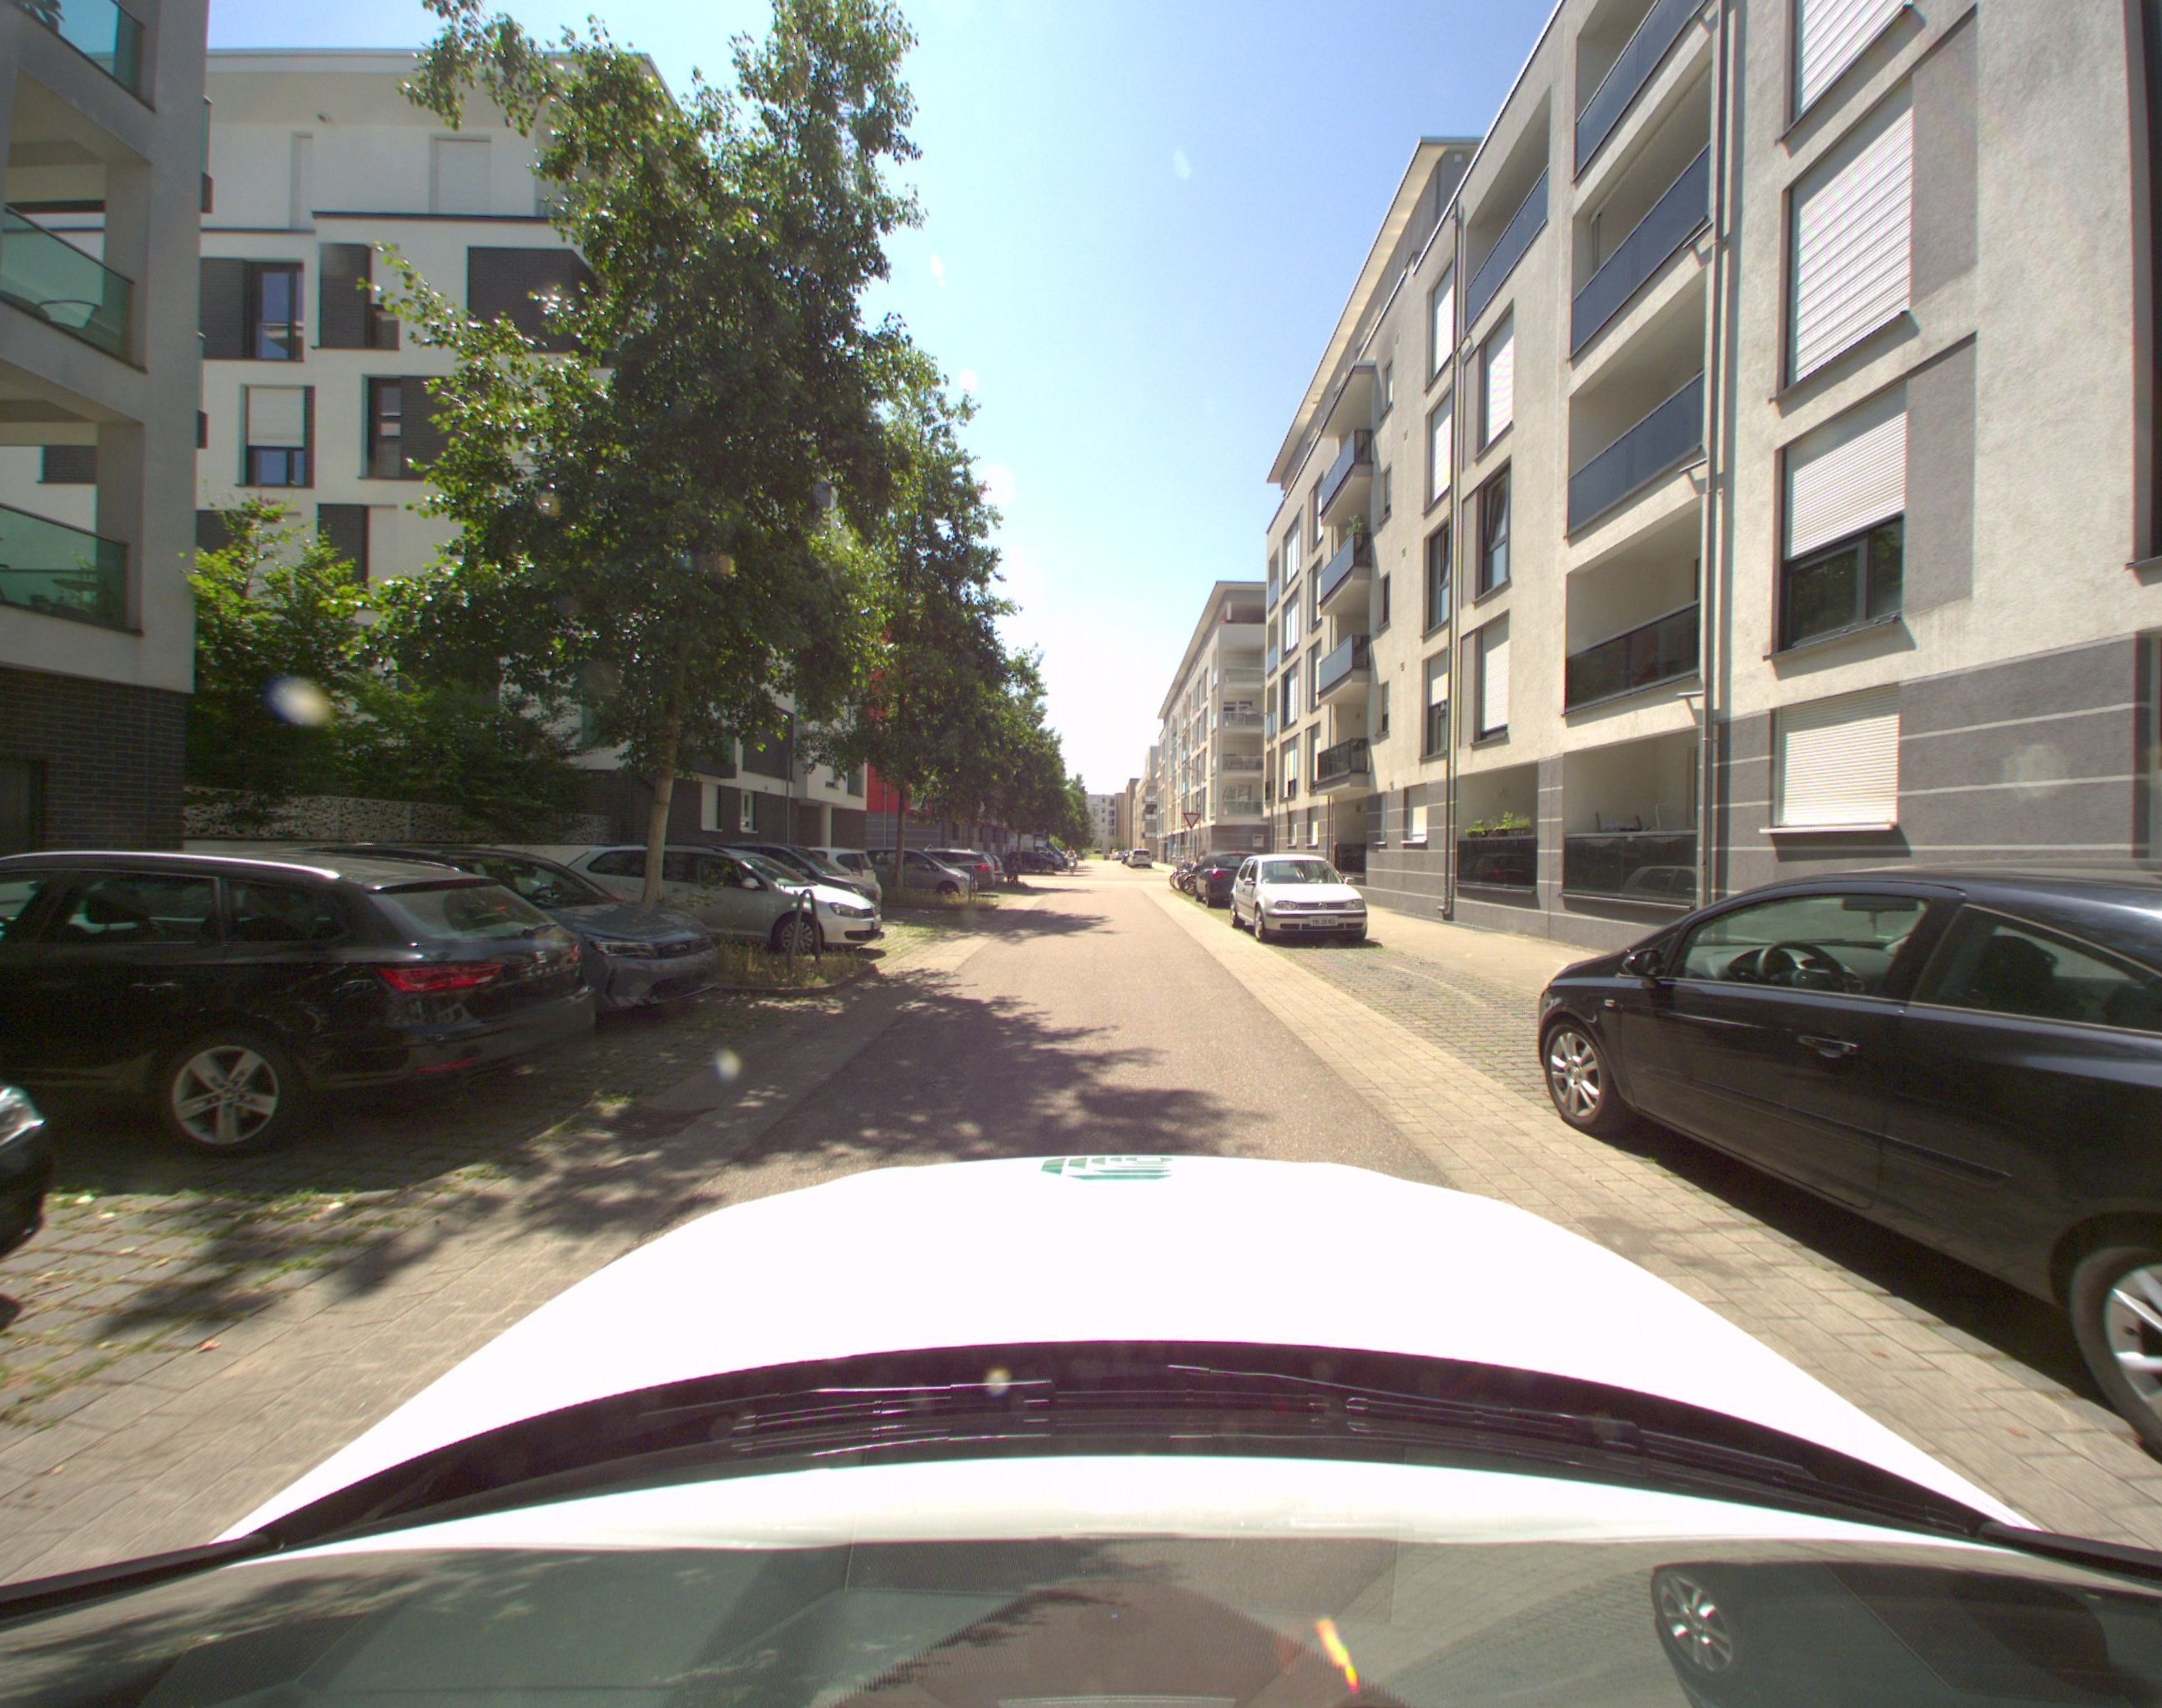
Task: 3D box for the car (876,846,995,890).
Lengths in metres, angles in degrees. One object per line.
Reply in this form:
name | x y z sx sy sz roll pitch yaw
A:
car | -5.304 0.506 30.057 3.970 1.555 1.801 0 0 3

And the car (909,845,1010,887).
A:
car | -4.767 0.444 32.326 3.617 1.520 1.832 2 0 1

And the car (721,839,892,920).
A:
car | -5.753 0.513 17.356 2.923 1.500 1.848 3 0 -1

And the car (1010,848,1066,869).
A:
car | -3.448 0.365 65.996 4.367 1.542 1.879 2 0 1

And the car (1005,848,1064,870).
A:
car | -3.580 0.350 63.445 4.367 1.515 2.076 2 0 1

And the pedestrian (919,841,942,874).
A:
pedestrian | -7.763 0.158 41.989 0.996 1.690 0.833 0 0 2

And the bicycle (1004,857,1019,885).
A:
bicycle | -2.970 0.696 34.795 0.434 1.128 1.971 0 0 -11

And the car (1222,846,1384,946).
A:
car | 3.809 0.630 14.770 1.827 1.504 4.352 -1 0 1

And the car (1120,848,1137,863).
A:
car | 5.330 0.163 90.647 1.749 1.552 4.005 1 0 4

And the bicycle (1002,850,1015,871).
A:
bicycle | -4.760 0.406 53.387 0.591 1.331 1.813 0 1 2

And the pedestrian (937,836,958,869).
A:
pedestrian | -8.152 -0.076 49.689 1.004 2.013 1.131 0 0 4

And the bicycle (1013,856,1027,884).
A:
bicycle | -2.610 0.668 34.819 0.371 1.180 1.814 0 0 -11

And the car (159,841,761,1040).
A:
car | -5.303 0.671 7.392 3.972 1.422 1.898 2 1 2

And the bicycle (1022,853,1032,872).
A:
bicycle | -3.534 0.530 53.326 0.432 1.204 1.701 2 1 2

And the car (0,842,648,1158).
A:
car | -5.039 0.708 4.781 3.965 1.445 1.774 2 0 -3

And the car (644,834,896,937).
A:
car | -5.322 0.521 14.347 3.701 1.586 1.818 2 0 -4

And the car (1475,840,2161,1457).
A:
car | 3.432 0.694 3.382 1.637 1.462 4.118 -1 0 1

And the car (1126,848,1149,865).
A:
car | 5.264 0.253 76.235 1.986 1.524 4.002 0 0 2

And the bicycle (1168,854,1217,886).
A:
bicycle | 4.346 0.621 31.783 1.851 1.193 0.688 -1 0 4

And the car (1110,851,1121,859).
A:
car | 7.065 0.155 166.431 1.987 1.717 4.000 0 0 0

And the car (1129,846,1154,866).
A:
car | 5.207 0.169 70.532 1.990 1.657 4.117 0 0 2

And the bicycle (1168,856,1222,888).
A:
bicycle | 4.179 0.651 29.787 1.911 1.133 0.611 -1 0 10

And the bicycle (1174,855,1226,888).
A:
bicycle | 4.303 0.626 29.420 1.838 1.148 0.458 -1 0 -18

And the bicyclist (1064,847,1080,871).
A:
bicyclist | -0.533 0.305 48.802 0.950 1.459 0.800 0 0 0

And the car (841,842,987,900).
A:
car | -4.947 0.494 24.511 3.924 1.553 1.872 2 0 0

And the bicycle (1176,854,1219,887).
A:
bicycle | 4.438 0.614 31.071 1.546 1.218 0.707 -1 0 -1

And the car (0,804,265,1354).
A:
car | -5.216 0.619 2.266 3.971 1.651 1.920 2 0 2

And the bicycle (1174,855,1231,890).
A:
bicycle | 4.302 0.646 28.836 1.922 1.218 0.459 -1 0 -8

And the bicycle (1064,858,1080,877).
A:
bicycle | -0.538 0.791 48.709 0.895 1.129 2.040 0 0 1

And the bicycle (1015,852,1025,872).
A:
bicycle | -3.991 0.515 53.585 0.517 1.204 1.752 2 1 -1

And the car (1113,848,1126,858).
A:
car | 6.571 -0.108 139.201 1.987 1.675 4.000 0 0 0

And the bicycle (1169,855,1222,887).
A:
bicycle | 4.292 0.633 30.391 1.911 1.179 0.640 -1 0 10

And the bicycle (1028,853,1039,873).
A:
bicycle | -3.102 0.563 53.315 0.569 1.174 1.765 3 1 -6

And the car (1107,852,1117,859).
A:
car | 6.802 0.335 180.503 1.987 1.519 4.000 0 0 0

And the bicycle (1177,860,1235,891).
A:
bicycle | 4.321 0.724 28.173 1.919 1.035 0.559 -1 0 -3

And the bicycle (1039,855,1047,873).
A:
bicycle | -2.508 0.618 53.527 0.464 1.141 1.925 0 0 -1

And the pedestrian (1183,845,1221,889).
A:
pedestrian | 4.305 0.453 28.963 1.178 1.515 0.686 -1 0 -9

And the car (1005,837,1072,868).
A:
car | -3.914 -0.174 76.070 6.002 2.816 2.606 0 0 1

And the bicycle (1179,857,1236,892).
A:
bicycle | 4.254 0.682 27.480 1.782 1.104 0.746 -1 0 -3

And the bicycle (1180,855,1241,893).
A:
bicycle | 4.246 0.653 26.733 1.865 1.218 0.715 -1 0 -3

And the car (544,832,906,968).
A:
car | -4.980 0.607 11.927 4.348 1.710 1.999 -1 0 -2

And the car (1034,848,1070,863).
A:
car | -3.282 0.154 93.271 3.970 1.618 2.002 0 0 3

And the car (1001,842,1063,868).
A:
car | -4.172 0.061 70.640 5.127 2.119 2.312 1 1 1

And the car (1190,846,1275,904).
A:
car | 4.181 0.521 23.087 1.732 1.485 4.230 -1 0 1

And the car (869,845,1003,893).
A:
car | -4.784 0.509 27.406 4.170 1.486 1.957 1 -1 -3
